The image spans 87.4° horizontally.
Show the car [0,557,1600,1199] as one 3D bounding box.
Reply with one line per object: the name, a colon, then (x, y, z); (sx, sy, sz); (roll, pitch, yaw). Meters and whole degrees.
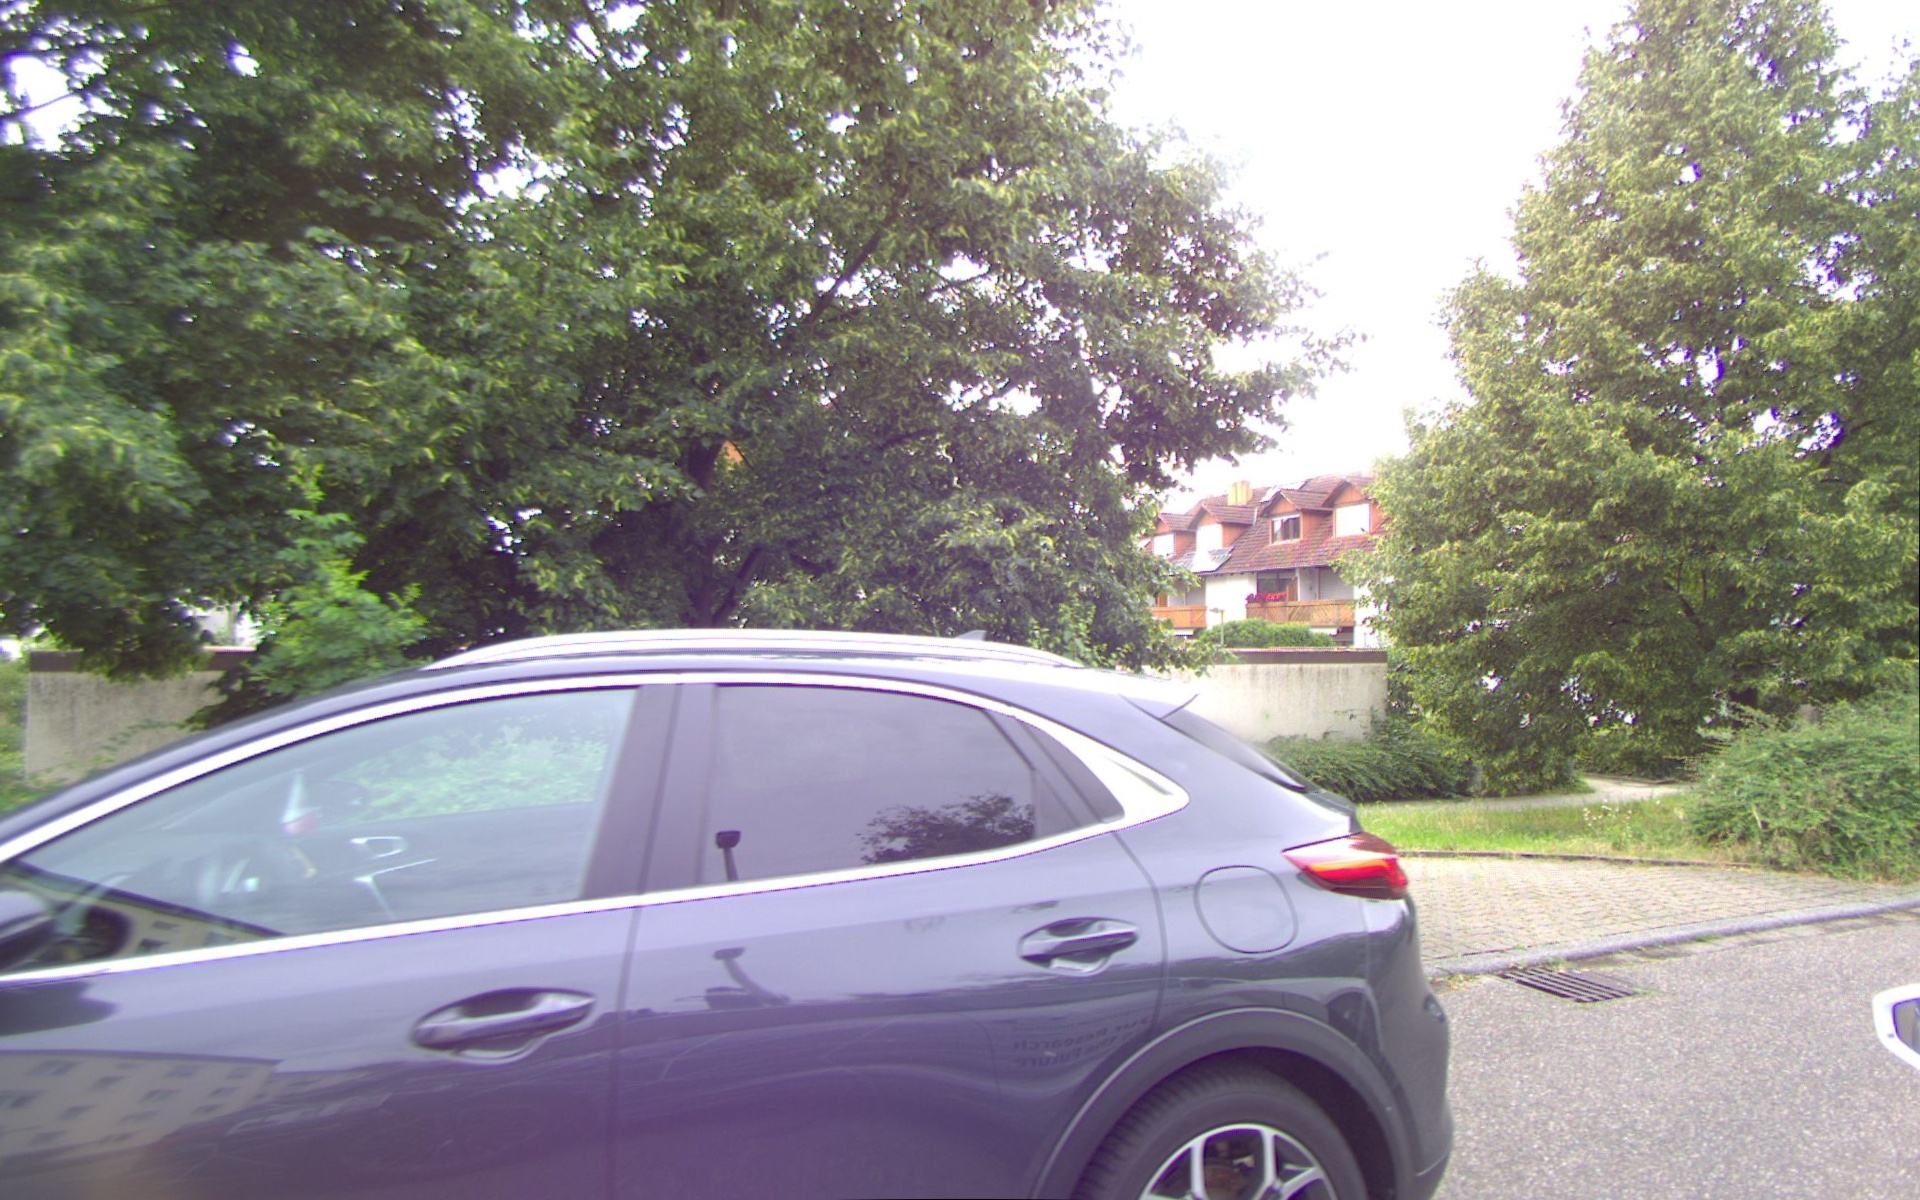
car: (-0.935, 0.789, 2.188); (4.130, 1.550, 1.741); (1, -4, -19)
